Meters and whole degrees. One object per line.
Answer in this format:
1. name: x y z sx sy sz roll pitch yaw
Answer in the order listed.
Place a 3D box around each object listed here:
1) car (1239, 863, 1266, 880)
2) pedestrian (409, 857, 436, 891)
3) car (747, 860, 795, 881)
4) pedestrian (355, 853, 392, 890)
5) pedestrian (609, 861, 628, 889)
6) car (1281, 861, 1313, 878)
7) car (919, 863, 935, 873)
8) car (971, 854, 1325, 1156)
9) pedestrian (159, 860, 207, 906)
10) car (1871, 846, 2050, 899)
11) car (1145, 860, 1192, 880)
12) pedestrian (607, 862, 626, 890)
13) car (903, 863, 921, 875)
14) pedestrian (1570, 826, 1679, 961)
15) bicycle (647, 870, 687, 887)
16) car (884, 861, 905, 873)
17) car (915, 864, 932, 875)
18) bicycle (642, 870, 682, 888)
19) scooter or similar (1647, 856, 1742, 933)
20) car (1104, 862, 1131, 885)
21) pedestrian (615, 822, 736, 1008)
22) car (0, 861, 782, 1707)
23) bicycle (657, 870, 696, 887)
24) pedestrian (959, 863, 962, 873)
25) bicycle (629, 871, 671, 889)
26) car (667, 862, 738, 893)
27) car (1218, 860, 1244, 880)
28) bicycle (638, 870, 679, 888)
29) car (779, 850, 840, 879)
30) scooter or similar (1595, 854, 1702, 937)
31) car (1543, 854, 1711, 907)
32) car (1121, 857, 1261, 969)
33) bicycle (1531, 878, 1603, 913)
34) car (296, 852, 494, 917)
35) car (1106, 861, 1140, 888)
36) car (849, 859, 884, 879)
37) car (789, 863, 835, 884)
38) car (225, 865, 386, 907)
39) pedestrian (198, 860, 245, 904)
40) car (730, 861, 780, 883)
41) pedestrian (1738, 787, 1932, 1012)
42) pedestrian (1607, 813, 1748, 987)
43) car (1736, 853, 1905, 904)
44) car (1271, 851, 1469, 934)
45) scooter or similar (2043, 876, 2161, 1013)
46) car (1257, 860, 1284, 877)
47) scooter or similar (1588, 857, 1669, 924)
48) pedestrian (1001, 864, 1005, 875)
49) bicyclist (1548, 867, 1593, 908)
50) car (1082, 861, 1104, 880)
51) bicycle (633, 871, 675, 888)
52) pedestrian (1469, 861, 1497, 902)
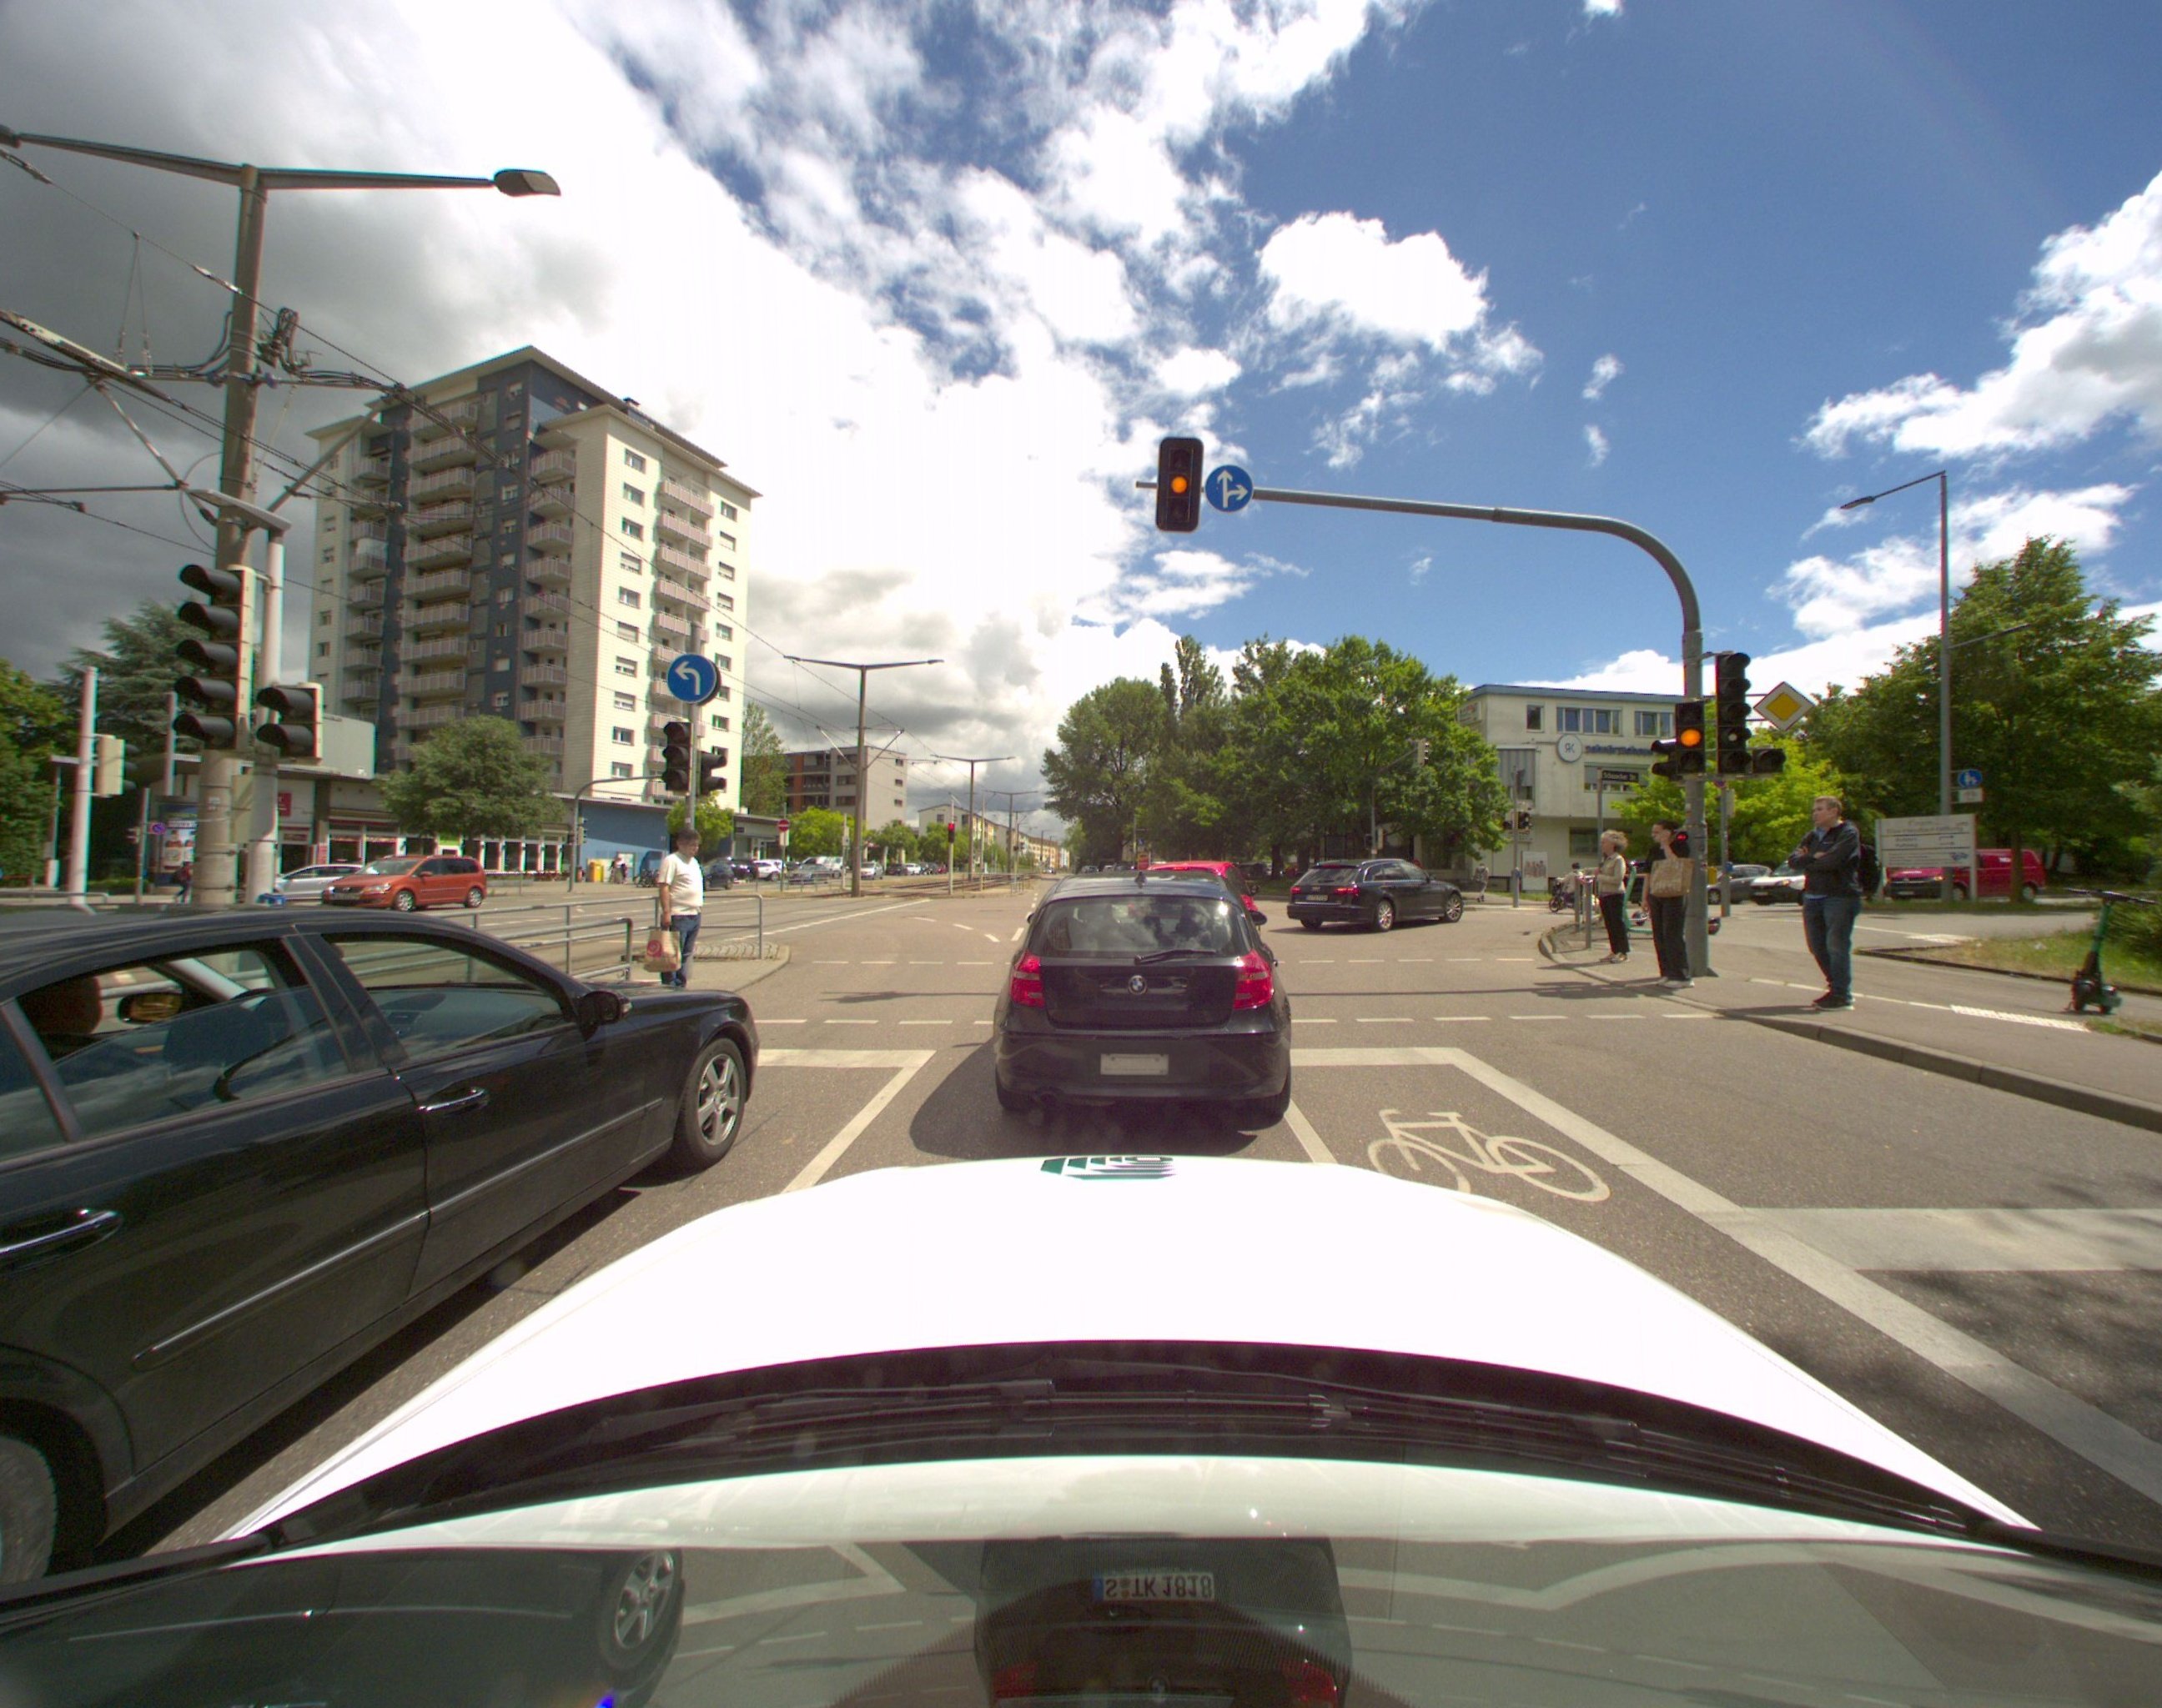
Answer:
1. car: 16.303 1.637 77.530 1.626 1.573 4.030 0 0 -1
2. pedestrian: -31.591 0.964 39.075 0.767 1.615 0.695 0 -1 -12
3. car: -24.591 1.285 64.525 4.165 1.538 1.973 0 0 45
4. pedestrian: -37.017 0.917 42.613 0.861 1.917 1.215 0 0 2
5. pedestrian: -27.611 1.242 48.608 0.950 1.659 1.089 0 -1 -27
6. car: 20.956 1.518 79.015 1.728 1.595 3.992 0 0 -5
7. car: -21.289 1.893 112.858 1.758 1.395 3.993 0 0 -5
8. car: 0.400 0.742 6.023 1.746 1.487 4.002 0 0 2
9. pedestrian: -33.561 1.077 30.440 0.957 1.659 1.002 -1 -1 28
10. car: 31.880 0.670 29.594 4.800 1.864 1.995 0 -2 -8
11. car: 8.141 1.504 75.679 4.001 1.823 1.766 0 0 -21
12. pedestrian: -28.310 1.314 49.652 0.950 1.659 1.089 0 -1 -27
13. car: -21.092 1.851 101.698 1.758 1.395 3.993 0 0 -5
14. pedestrian: 7.107 0.502 10.708 0.945 1.674 0.874 -1 -1 17
15. bicycle: -23.264 1.393 45.820 1.943 0.935 0.494 0 -1 -5
16. car: -21.549 1.491 94.179 1.758 1.395 3.993 0 0 -5
17. car: -20.933 2.011 108.022 1.758 1.395 3.993 0 0 -5
18. bicycle: -23.279 1.389 45.274 1.943 0.935 0.494 0 -1 -5
19. scooter or similar: 10.366 0.677 13.779 1.225 1.240 0.555 2 0 -7
20. car: 2.749 1.445 61.744 1.986 1.684 4.001 0 -1 2
21. pedestrian: -4.121 0.596 8.334 0.866 1.808 0.741 0 0 -2
22. car: -2.693 0.764 2.500 1.721 1.461 4.546 0 0 2
23. bicycle: -23.076 1.397 46.435 1.943 0.935 0.494 0 -1 -5
24. pedestrian: -20.892 2.412 141.247 0.451 1.637 0.480 0 -1 -3
25. bicycle: -23.178 1.375 43.780 1.943 0.935 0.494 0 -1 -5
26. car: -19.490 1.191 42.097 1.624 1.414 4.254 -1 1 1
27. car: 14.093 1.519 76.544 1.626 1.811 4.030 0 0 -1
28. bicycle: -23.240 1.384 44.788 1.943 0.935 0.494 0 -1 -5
29. car: -24.321 0.918 72.723 2.848 2.478 6.642 0 0 -41
30. scooter or similar: 8.977 0.648 12.908 1.336 1.277 0.463 0 1 8
31. car: 18.636 0.885 27.914 4.551 1.717 1.996 0 0 -5
32. car: 1.779 0.767 12.311 1.529 1.441 3.211 0 0 18
33. bicycle: 12.590 1.067 21.166 0.789 0.819 1.807 0 0 0
34. car: -19.489 0.807 23.468 1.989 1.635 4.456 -2 0 -3
35. car: 2.779 1.351 54.290 2.144 1.684 4.001 0 -1 2
36. car: -18.794 1.304 71.607 1.929 1.693 3.874 0 0 2
37. car: -18.492 1.340 56.160 1.630 1.399 4.492 0 -1 0
38. car: -27.255 1.091 28.809 4.021 1.398 1.678 1 -2 -41
39. pedestrian: -33.098 1.082 31.370 0.957 1.659 1.002 -1 -1 28
40. car: -24.481 1.323 61.099 4.165 1.570 1.973 0 0 45
41. pedestrian: 6.903 0.394 7.513 0.963 1.942 0.896 0 0 -3
42. pedestrian: 6.399 0.465 8.775 0.933 1.765 0.770 -1 0 -10
43. car: 26.301 0.829 29.040 4.555 1.717 1.995 0 0 -8
44. car: 6.277 0.733 17.452 4.544 1.554 1.976 0 -1 -40
45. scooter or similar: 10.624 0.925 8.467 1.247 1.276 0.709 6 -1 -38
46. car: 18.307 1.414 78.686 1.626 1.595 3.998 0 0 -1
47. scooter or similar: 9.886 0.658 14.693 1.360 1.156 0.540 1 0 -23
48. pedestrian: -12.453 2.477 129.850 0.477 1.637 0.454 0 -1 1
49. bicyclist: 12.589 0.846 20.964 0.789 1.022 0.636 0 -1 -1
50. car: 1.196 1.562 77.211 1.986 1.684 4.002 0 0 2
51. bicycle: -23.218 1.380 44.281 1.943 0.935 0.494 0 -1 -5
52. pedestrian: 16.472 1.114 33.372 0.912 1.643 0.762 1 -1 -41
